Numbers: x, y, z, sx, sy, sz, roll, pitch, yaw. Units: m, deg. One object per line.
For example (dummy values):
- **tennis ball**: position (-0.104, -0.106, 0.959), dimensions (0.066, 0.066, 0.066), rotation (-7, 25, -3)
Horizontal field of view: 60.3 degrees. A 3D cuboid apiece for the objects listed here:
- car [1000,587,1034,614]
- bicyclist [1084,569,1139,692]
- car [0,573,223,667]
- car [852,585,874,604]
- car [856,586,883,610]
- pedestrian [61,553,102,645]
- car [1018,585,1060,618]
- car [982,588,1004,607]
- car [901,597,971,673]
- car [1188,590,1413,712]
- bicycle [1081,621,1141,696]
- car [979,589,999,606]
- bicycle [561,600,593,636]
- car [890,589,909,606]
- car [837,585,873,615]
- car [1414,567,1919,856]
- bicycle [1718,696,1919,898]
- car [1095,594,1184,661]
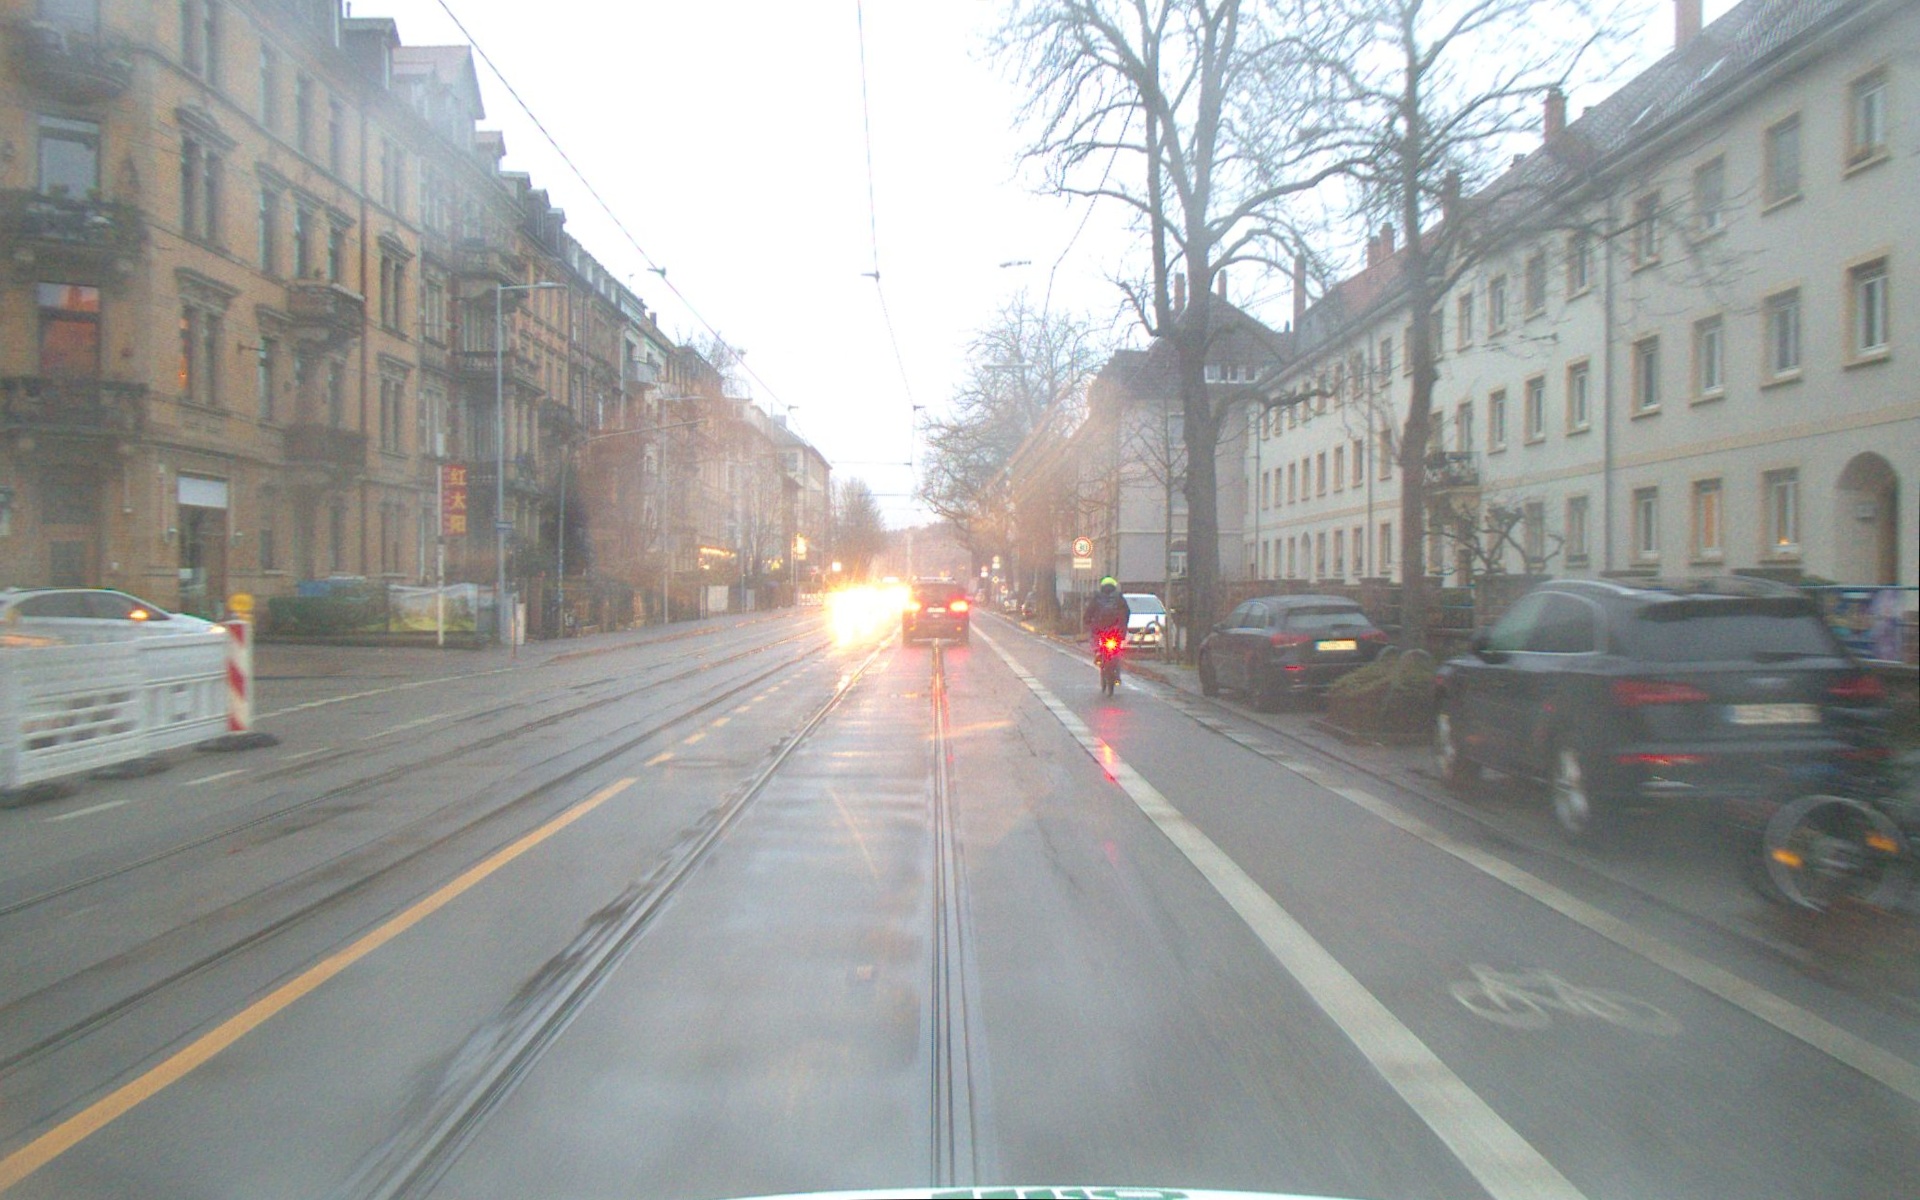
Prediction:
- **car**: position (3.316, 0.023, 96.691), dimensions (1.749, 1.536, 4.108), rotation (0, 0, -1)
- **bicyclist**: position (2.219, 0.438, 24.326), dimensions (0.715, 1.767, 0.765), rotation (1, 0, 0)
- **car**: position (-15.454, 0.324, 29.192), dimensions (4.134, 1.552, 1.971), rotation (0, 0, -40)
- **car**: position (-9.291, -0.517, 158.783), dimensions (1.884, 1.750, 3.999), rotation (0, 0, -1)
- **car**: position (-6.732, -0.163, 123.098), dimensions (1.884, 1.691, 3.999), rotation (0, 0, -1)
- **pedestrian**: position (-17.619, -0.020, 33.157), dimensions (0.711, 1.804, 0.763), rotation (0, 0, -29)
- **car**: position (3.709, 0.057, 78.671), dimensions (1.749, 1.536, 4.108), rotation (0, 0, -1)
- **car**: position (2.793, -0.228, 142.192), dimensions (1.749, 1.536, 4.108), rotation (0, 0, -1)
- **car**: position (-0.707, 0.921, 45.840), dimensions (1.766, 1.903, 4.016), rotation (3, 0, -2)
- **car**: position (4.520, 0.617, 22.636), dimensions (1.842, 1.444, 4.339), rotation (-1, 1, -5)
- **bicycle**: position (2.212, 0.836, 24.338), dimensions (0.716, 1.024, 1.764), rotation (1, 0, 0)
- **car**: position (2.674, -0.274, 155.592), dimensions (1.749, 1.536, 4.108), rotation (0, 0, -1)
- **bicycle**: position (-11.109, 0.519, 48.000), dimensions (0.486, 1.024, 1.764), rotation (1, 0, 0)
- **car**: position (-6.176, -0.292, 168.609), dimensions (1.884, 1.691, 3.999), rotation (0, 0, -1)
- **car**: position (-6.040, -0.005, 95.340), dimensions (1.884, 1.691, 3.999), rotation (0, 0, -1)
- **car**: position (4.761, 0.622, 11.728), dimensions (1.866, 1.638, 4.561), rotation (0, 0, 0)
- **bicycle**: position (4.815, 0.951, 8.079), dimensions (1.970, 0.932, 0.465), rotation (0, 0, 8)
- **car**: position (4.357, 0.630, 40.656), dimensions (1.749, 1.536, 4.108), rotation (0, 0, 0)
